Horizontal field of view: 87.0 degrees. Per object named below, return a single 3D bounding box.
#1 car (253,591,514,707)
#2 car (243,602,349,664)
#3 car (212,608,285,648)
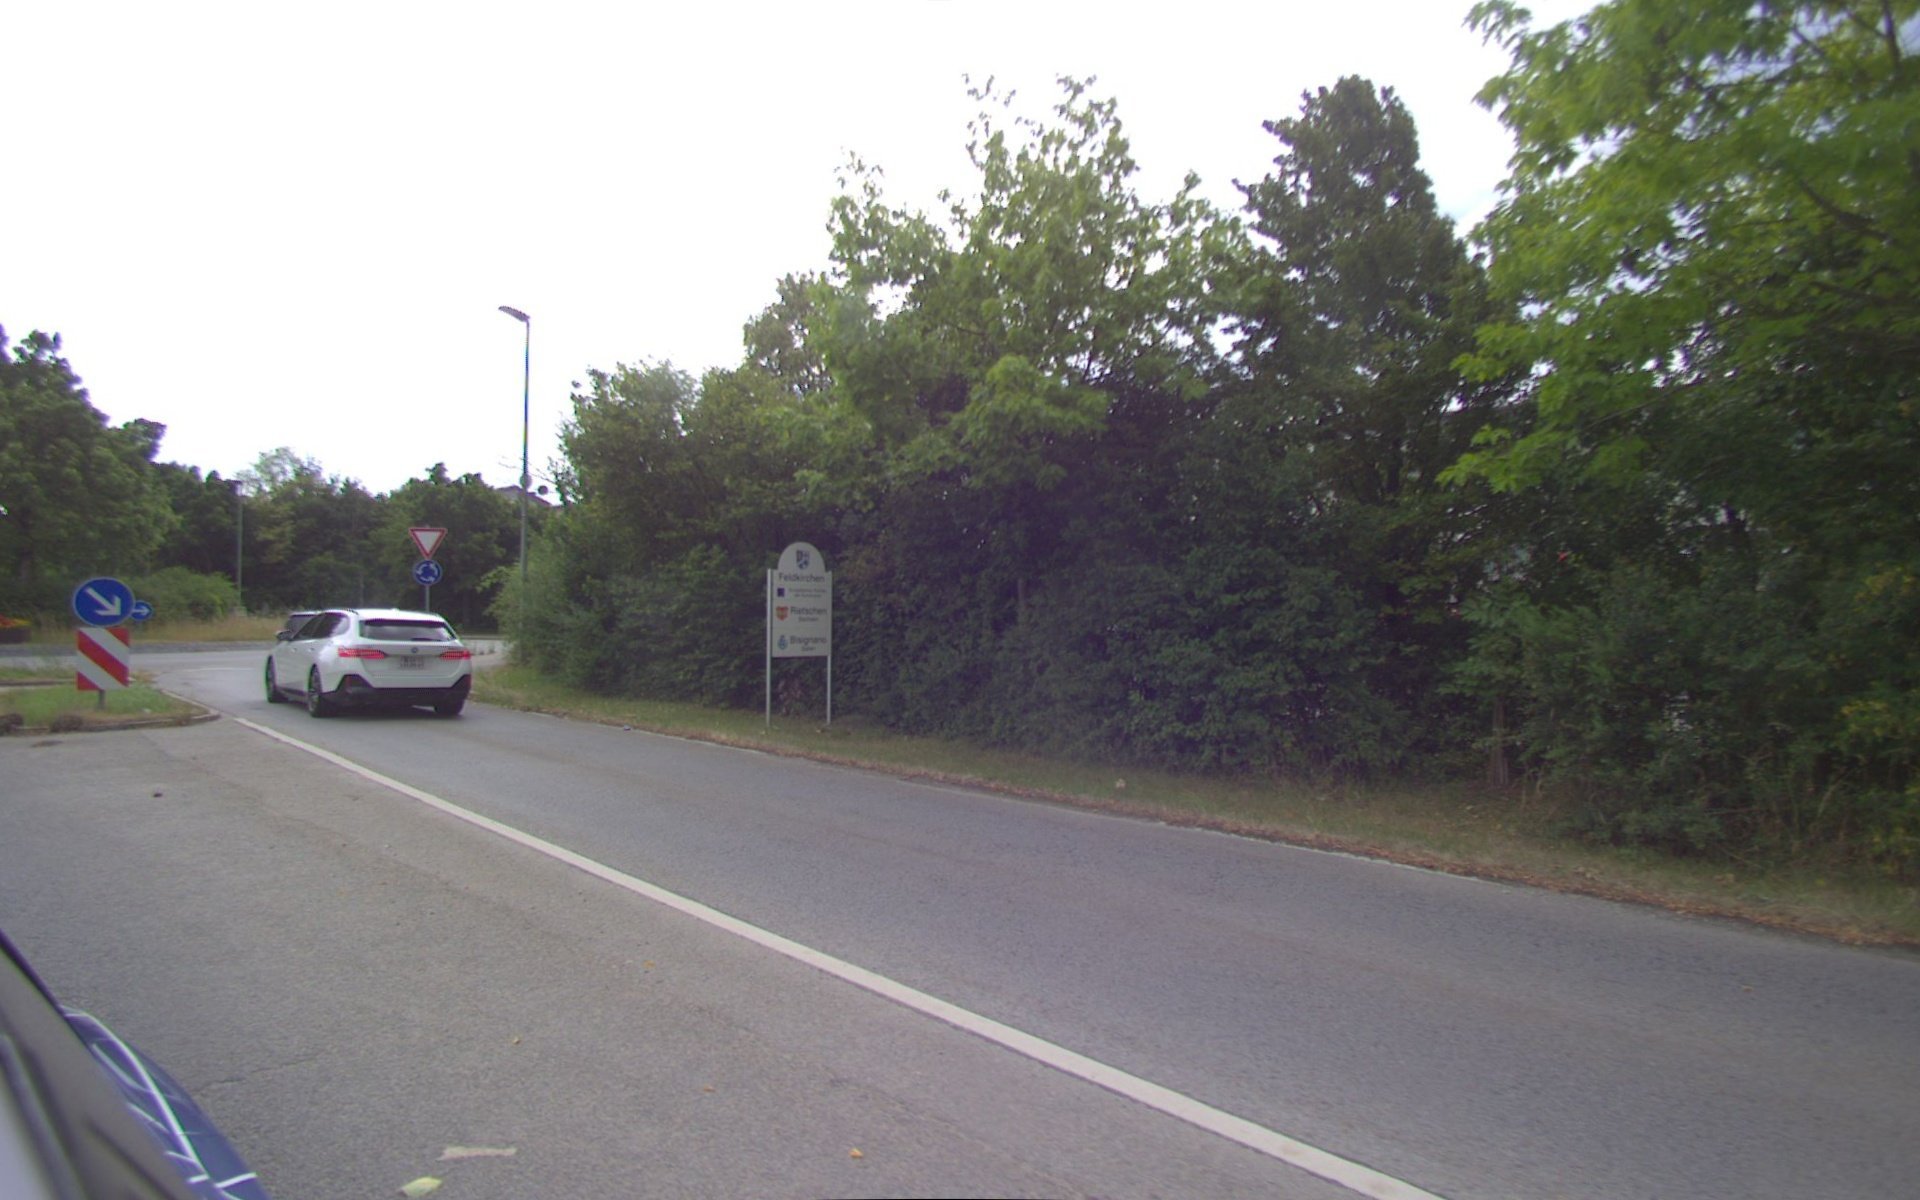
[{"bbox_3d":[-8.865,0.719,15.346,2.187,1.465,4.945,4,-4,-45],"label":"car"},{"bbox_3d":[-17.201,0.859,26.153,1.661,1.465,4.005,3,-3,-42],"label":"car"},{"bbox_3d":[-27.140,1.076,38.716,1.658,1.434,4.013,1,-2,-26],"label":"car"}]
